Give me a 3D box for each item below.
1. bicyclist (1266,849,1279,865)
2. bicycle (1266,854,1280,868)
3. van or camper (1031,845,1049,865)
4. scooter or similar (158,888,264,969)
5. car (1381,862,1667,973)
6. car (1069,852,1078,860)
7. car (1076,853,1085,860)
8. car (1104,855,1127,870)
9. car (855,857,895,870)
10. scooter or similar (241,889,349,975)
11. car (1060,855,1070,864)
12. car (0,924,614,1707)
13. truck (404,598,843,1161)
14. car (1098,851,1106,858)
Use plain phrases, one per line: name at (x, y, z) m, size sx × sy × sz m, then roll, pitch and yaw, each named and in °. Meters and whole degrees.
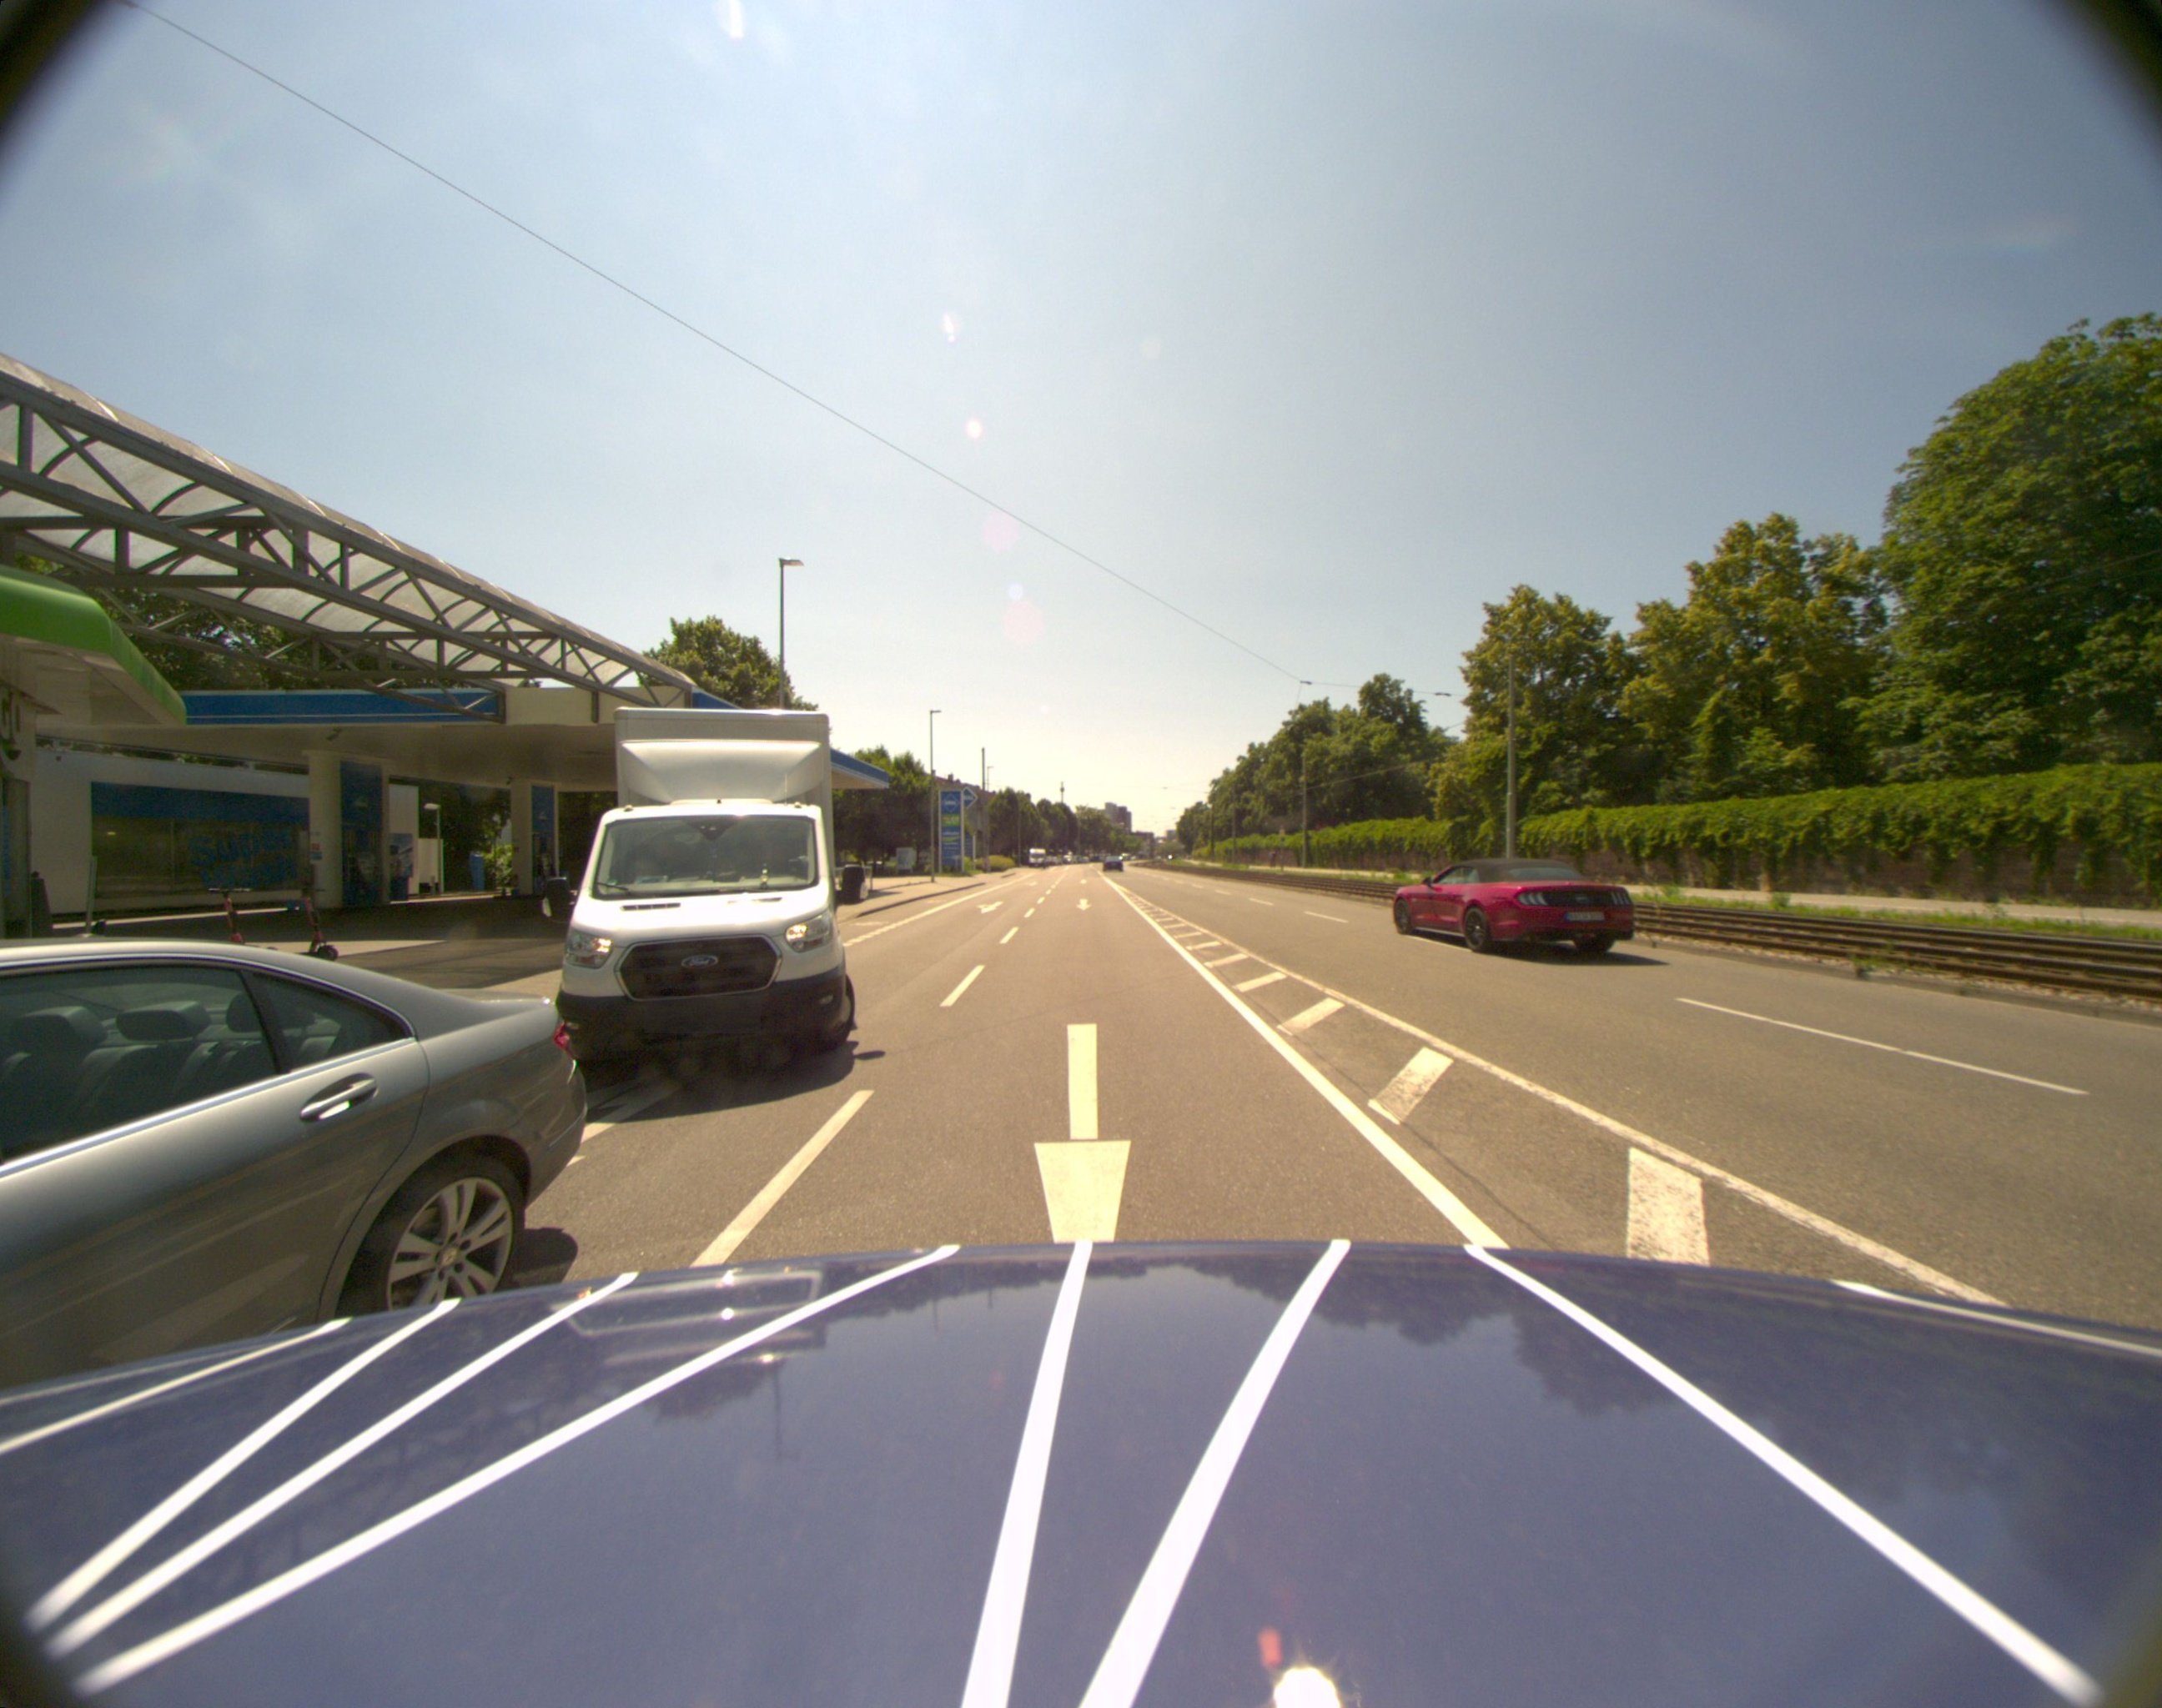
bicyclist at (17.390, 0.259, 68.946) m, size 0.996 × 1.477 × 1.000 m, roll -1°, pitch 1°, yaw 6°
bicycle at (17.400, 0.631, 68.929) m, size 0.830 × 1.149 × 2.686 m, roll -1°, pitch 0°, yaw 6°
van or camper at (-5.312, 0.150, 98.874) m, size 2.126 × 2.469 × 5.992 m, roll 2°, pitch 0°, yaw -1°
scooter or similar at (-13.084, 1.107, 11.436) m, size 1.138 × 1.170 × 0.384 m, roll -1°, pitch 1°, yaw 1°
car at (6.641, 0.851, 12.128) m, size 1.989 × 1.350 × 4.538 m, roll -1°, pitch 0°, yaw 1°
car at (-1.585, 0.457, 159.592) m, size 1.907 × 1.707 × 4.000 m, roll -1°, pitch 0°, yaw 0°
car at (-0.114, 0.484, 167.723) m, size 1.807 × 1.585 × 4.000 m, roll -1°, pitch 0°, yaw 0°
car at (3.258, 0.754, 72.507) m, size 1.798 × 1.391 × 4.447 m, roll 0°, pitch 0°, yaw -2°
car at (-25.164, 1.170, 93.023) m, size 4.221 × 1.512 × 2.001 m, roll -1°, pitch 0°, yaw 8°
scooter or similar at (-11.844, 1.170, 11.463) m, size 1.176 × 1.233 × 0.411 m, roll -1°, pitch 1°, yaw 1°
car at (-3.116, 1.020, 147.691) m, size 1.725 × 1.586 × 4.000 m, roll -1°, pitch 0°, yaw 3°
car at (-2.954, 1.041, 1.051) m, size 1.800 × 1.441 × 4.418 m, roll -1°, pitch 0°, yaw 1°
truck at (-4.193, 0.151, 8.641) m, size 2.430 × 3.372 × 7.820 m, roll -1°, pitch 0°, yaw -20°
car at (5.501, 0.041, 198.948) m, size 1.998 × 1.718 × 4.000 m, roll -1°, pitch 0°, yaw 0°
